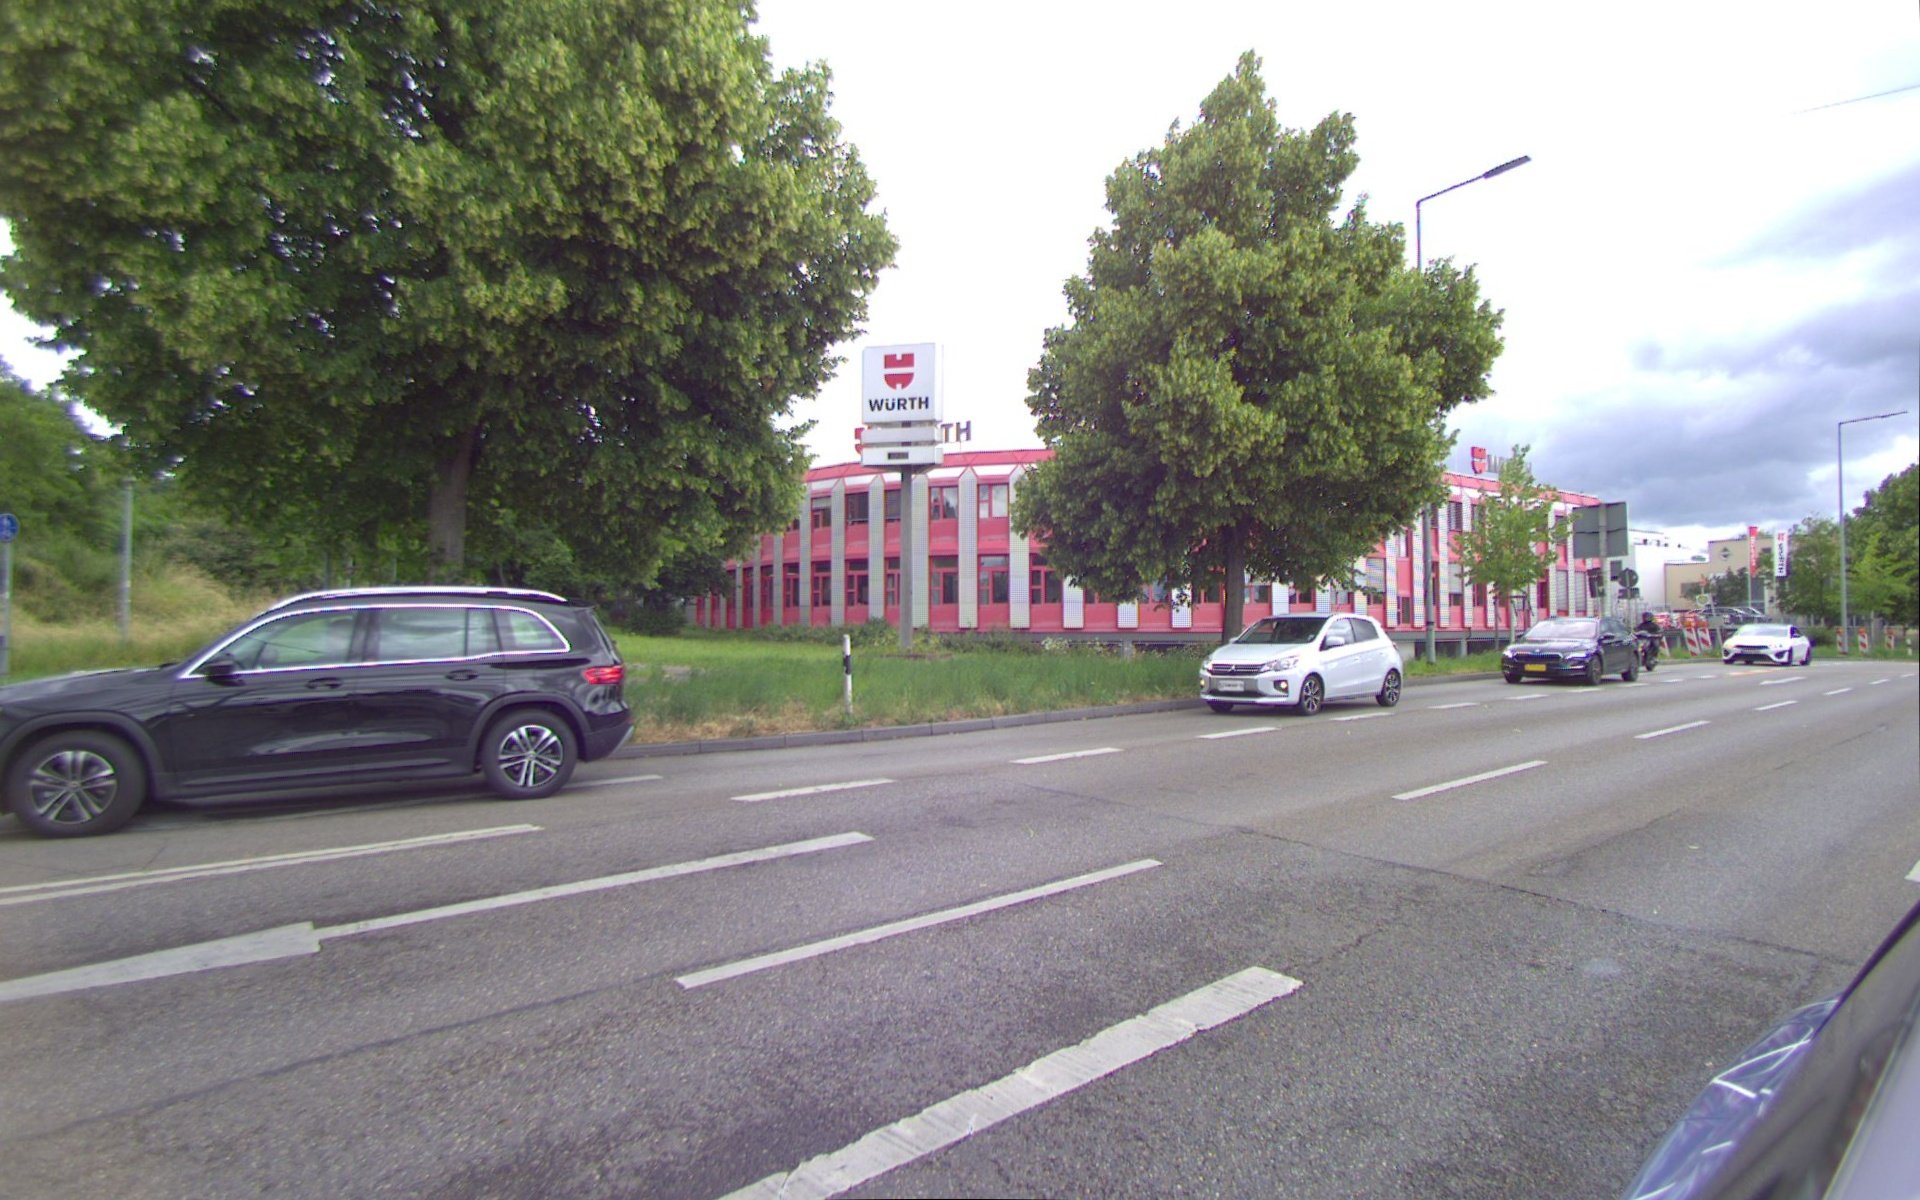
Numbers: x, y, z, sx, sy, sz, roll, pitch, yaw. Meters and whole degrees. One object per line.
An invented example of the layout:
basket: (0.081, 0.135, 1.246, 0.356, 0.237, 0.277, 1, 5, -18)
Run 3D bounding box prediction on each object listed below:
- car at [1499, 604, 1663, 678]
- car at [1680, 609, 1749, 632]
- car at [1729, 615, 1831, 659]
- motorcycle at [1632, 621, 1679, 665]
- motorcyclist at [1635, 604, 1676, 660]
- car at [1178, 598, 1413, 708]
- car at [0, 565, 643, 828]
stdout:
car: (13.828, 0.900, 22.437, 4.447, 1.464, 1.784, 3, -1, -40)
car: (61.807, 1.675, 82.957, 1.752, 1.776, 4.247, 0, 0, -39)
car: (27.954, 1.284, 34.445, 4.397, 1.380, 1.785, 3, -2, -38)
motorcycle: (19.078, 1.175, 27.742, 0.747, 1.162, 1.912, -2, -3, 43)
motorcyclist: (19.041, 0.877, 27.711, 0.747, 1.510, 0.919, -2, -3, 43)
car: (5.173, 0.775, 15.378, 3.768, 1.462, 1.783, 3, -3, -42)
car: (-4.943, 0.655, 8.081, 4.336, 1.671, 1.788, 0, -3, -28)
